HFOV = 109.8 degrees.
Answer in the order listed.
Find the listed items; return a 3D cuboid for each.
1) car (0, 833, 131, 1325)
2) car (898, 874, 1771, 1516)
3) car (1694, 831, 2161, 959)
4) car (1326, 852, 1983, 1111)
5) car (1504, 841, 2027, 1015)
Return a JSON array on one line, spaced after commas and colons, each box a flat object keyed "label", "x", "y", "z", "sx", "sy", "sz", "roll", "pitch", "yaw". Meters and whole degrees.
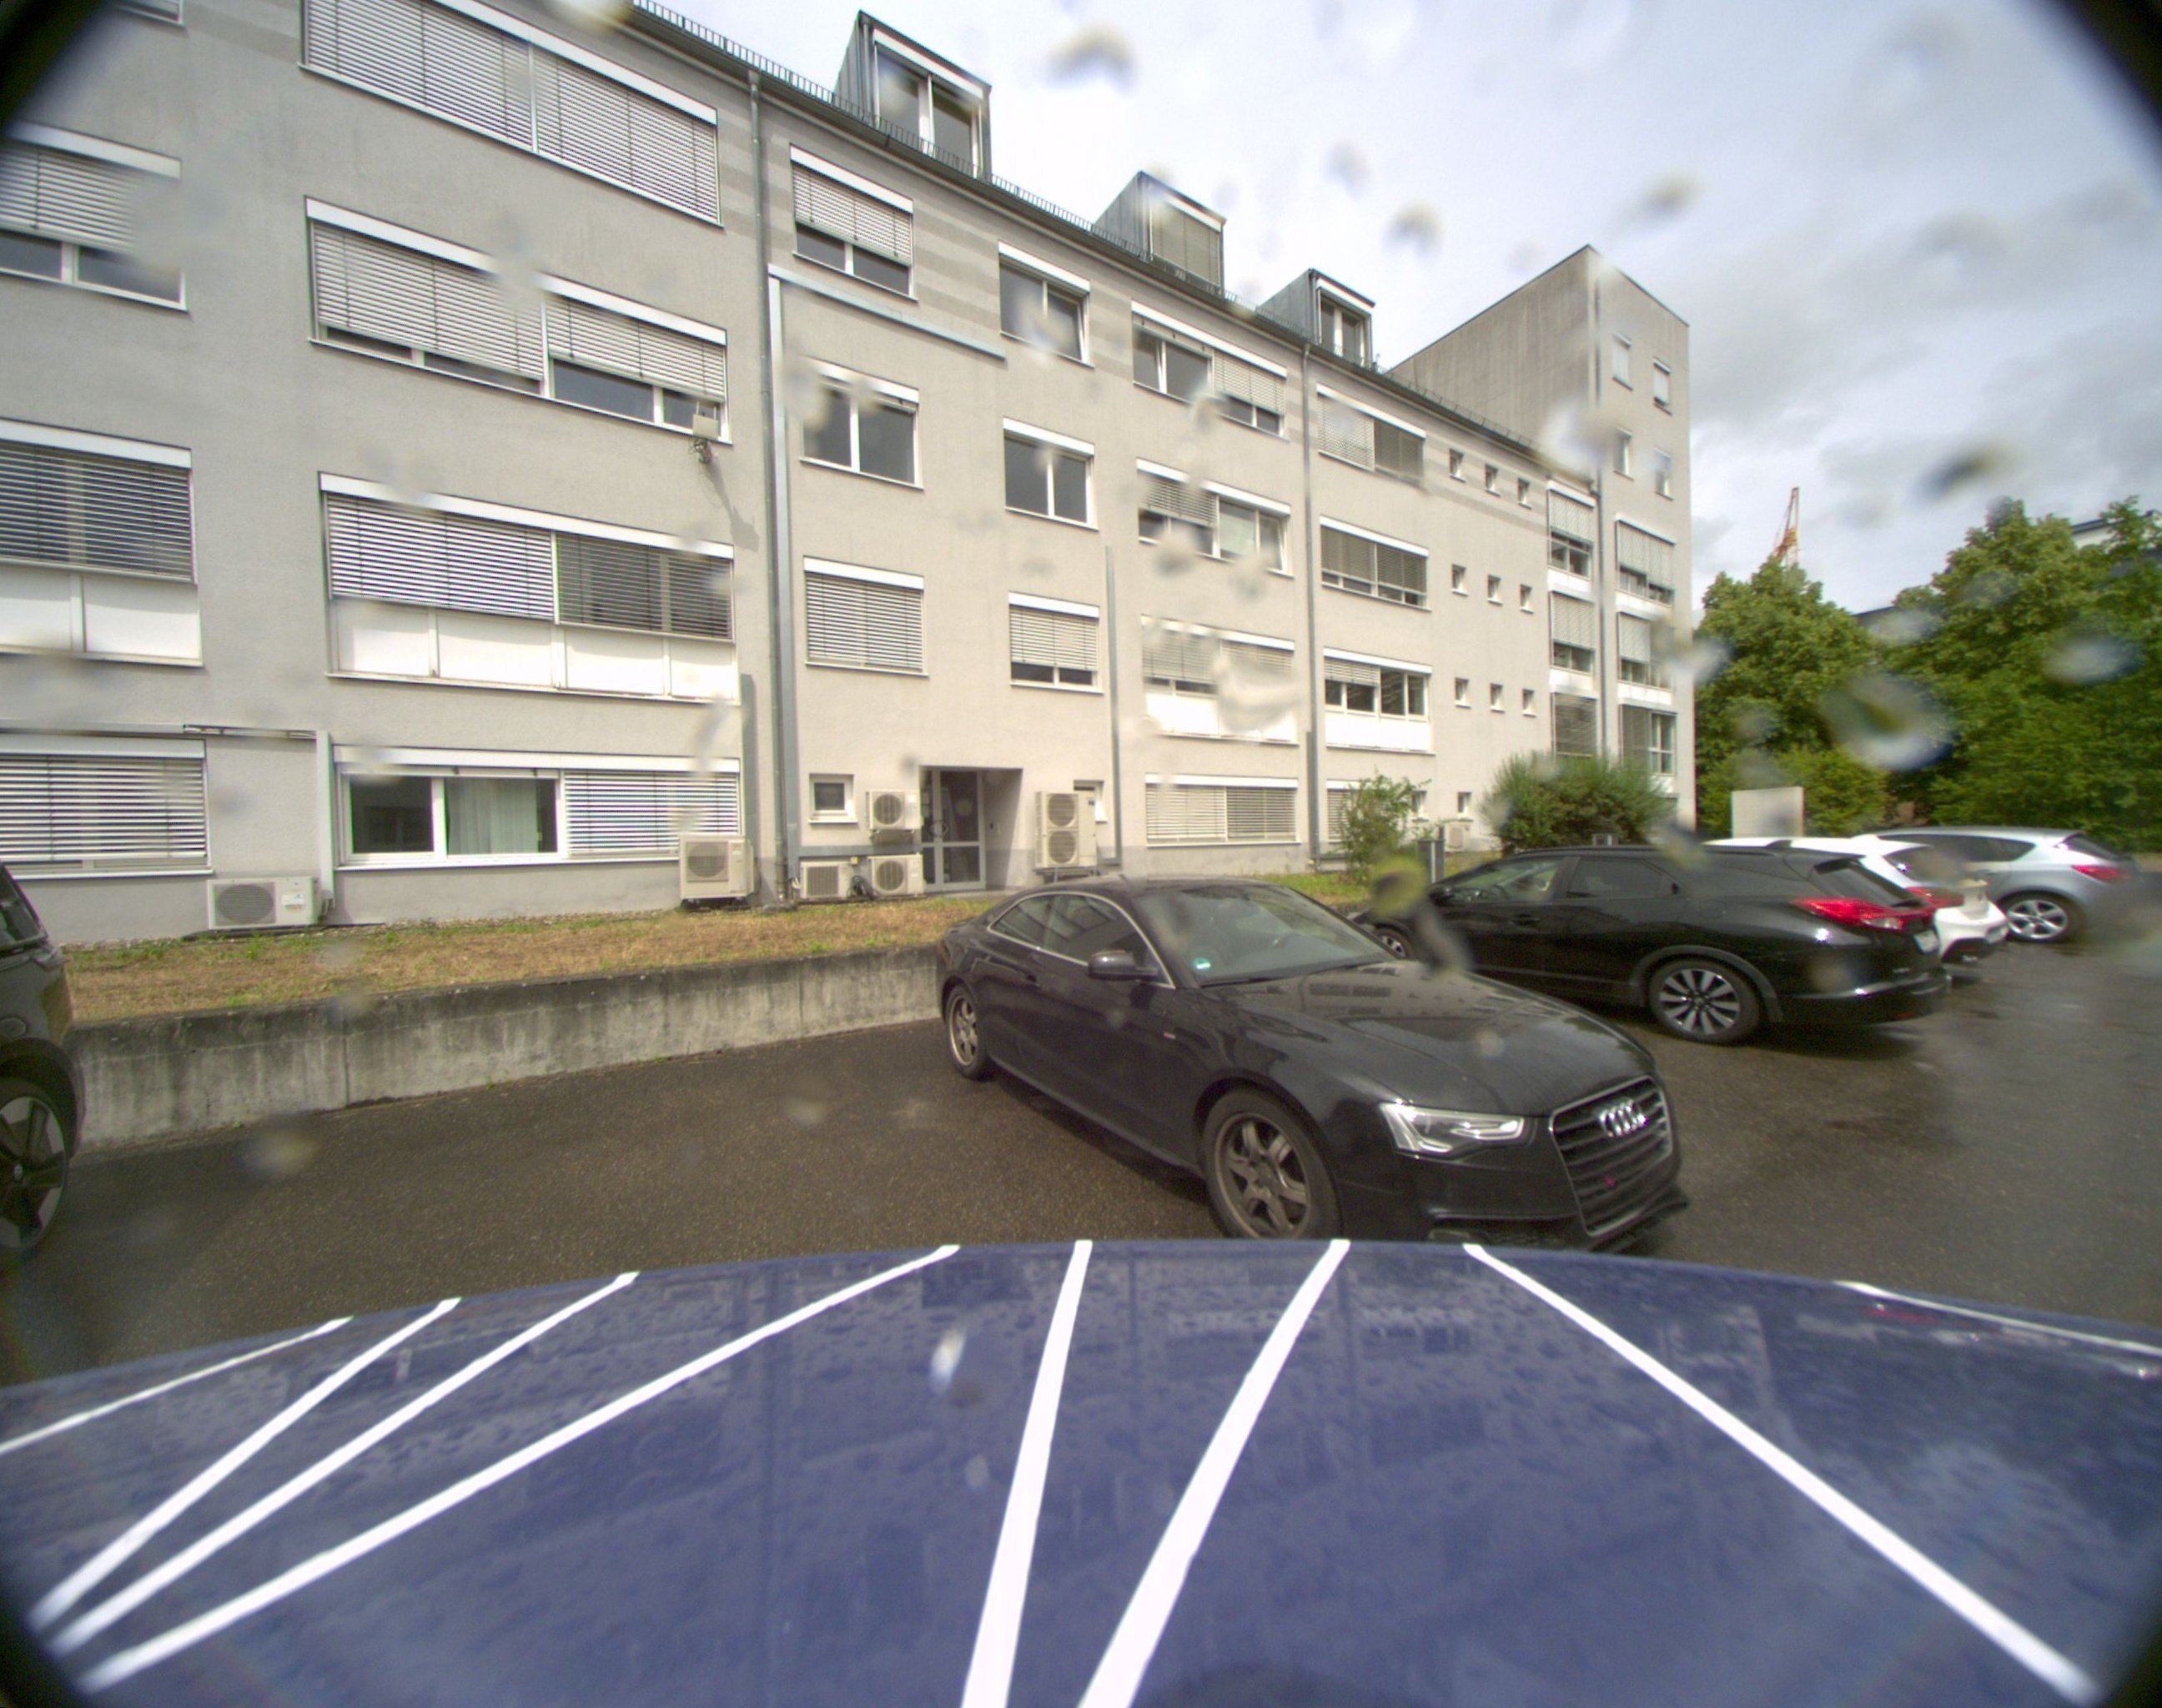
[{"label": "car", "x": -4.158, "y": 0.893, "z": 1.114, "sx": 1.974, "sy": 1.854, "sz": 4.735, "roll": -3, "pitch": 2, "yaw": -33}, {"label": "car", "x": 0.588, "y": 0.908, "z": 4.241, "sx": 1.766, "sy": 1.344, "sz": 4.517, "roll": -3, "pitch": 2, "yaw": -32}, {"label": "car", "x": 11.917, "y": 0.439, "z": 11.070, "sx": 1.766, "sy": 1.434, "sz": 4.304, "roll": -3, "pitch": 2, "yaw": -32}, {"label": "car", "x": 4.520, "y": 0.746, "z": 6.757, "sx": 1.766, "sy": 1.434, "sz": 4.304, "roll": -3, "pitch": 2, "yaw": -33}, {"label": "car", "x": 7.367, "y": 0.607, "z": 8.688, "sx": 1.699, "sy": 1.434, "sz": 4.115, "roll": -3, "pitch": 2, "yaw": -31}]
